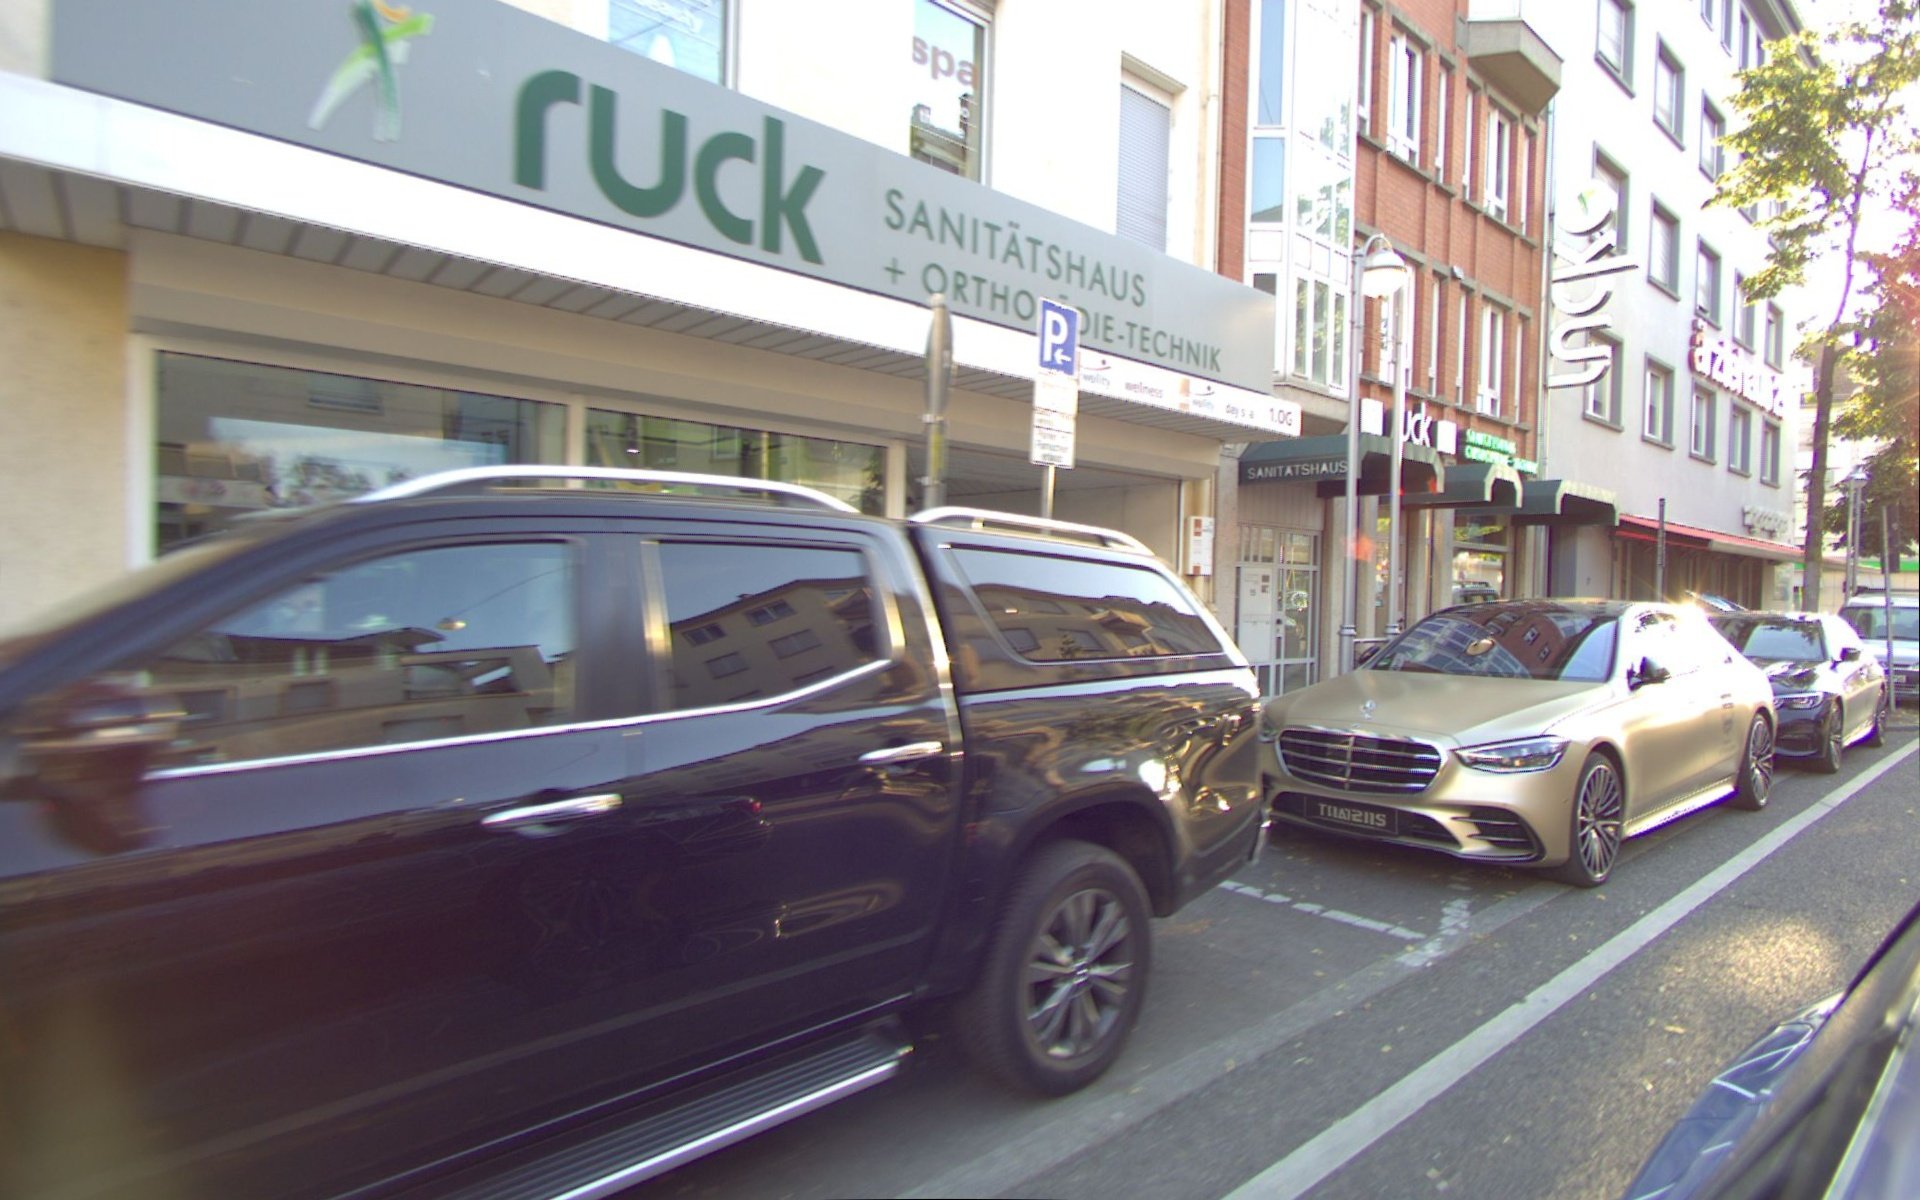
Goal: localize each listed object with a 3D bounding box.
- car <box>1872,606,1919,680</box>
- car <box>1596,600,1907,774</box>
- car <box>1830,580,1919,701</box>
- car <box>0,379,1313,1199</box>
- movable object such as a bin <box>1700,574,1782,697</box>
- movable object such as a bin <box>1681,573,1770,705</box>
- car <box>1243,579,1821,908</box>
[{"bbox_3d":[20.031,0.835,20.488,4.110,1.394,1.940,0,0,-42],"label":"car"},{"bbox_3d":[8.370,0.738,10.547,4.430,1.438,1.756,1,0,-41],"label":"car"},{"bbox_3d":[15.597,0.615,16.598,3.944,1.801,1.656,1,0,-44],"label":"car"},{"bbox_3d":[-1.119,0.559,2.905,4.972,1.776,1.886,-1,1,-42],"label":"car"},{"bbox_3d":[11.952,0.512,15.485,1.186,1.796,0.835,0,0,-44],"label":"movable object such as a bin"},{"bbox_3d":[11.042,0.525,14.583,1.331,1.796,0.835,0,0,-44],"label":"movable object such as a bin"},{"bbox_3d":[4.204,0.646,7.019,4.903,1.546,1.816,-1,1,-39],"label":"car"}]
